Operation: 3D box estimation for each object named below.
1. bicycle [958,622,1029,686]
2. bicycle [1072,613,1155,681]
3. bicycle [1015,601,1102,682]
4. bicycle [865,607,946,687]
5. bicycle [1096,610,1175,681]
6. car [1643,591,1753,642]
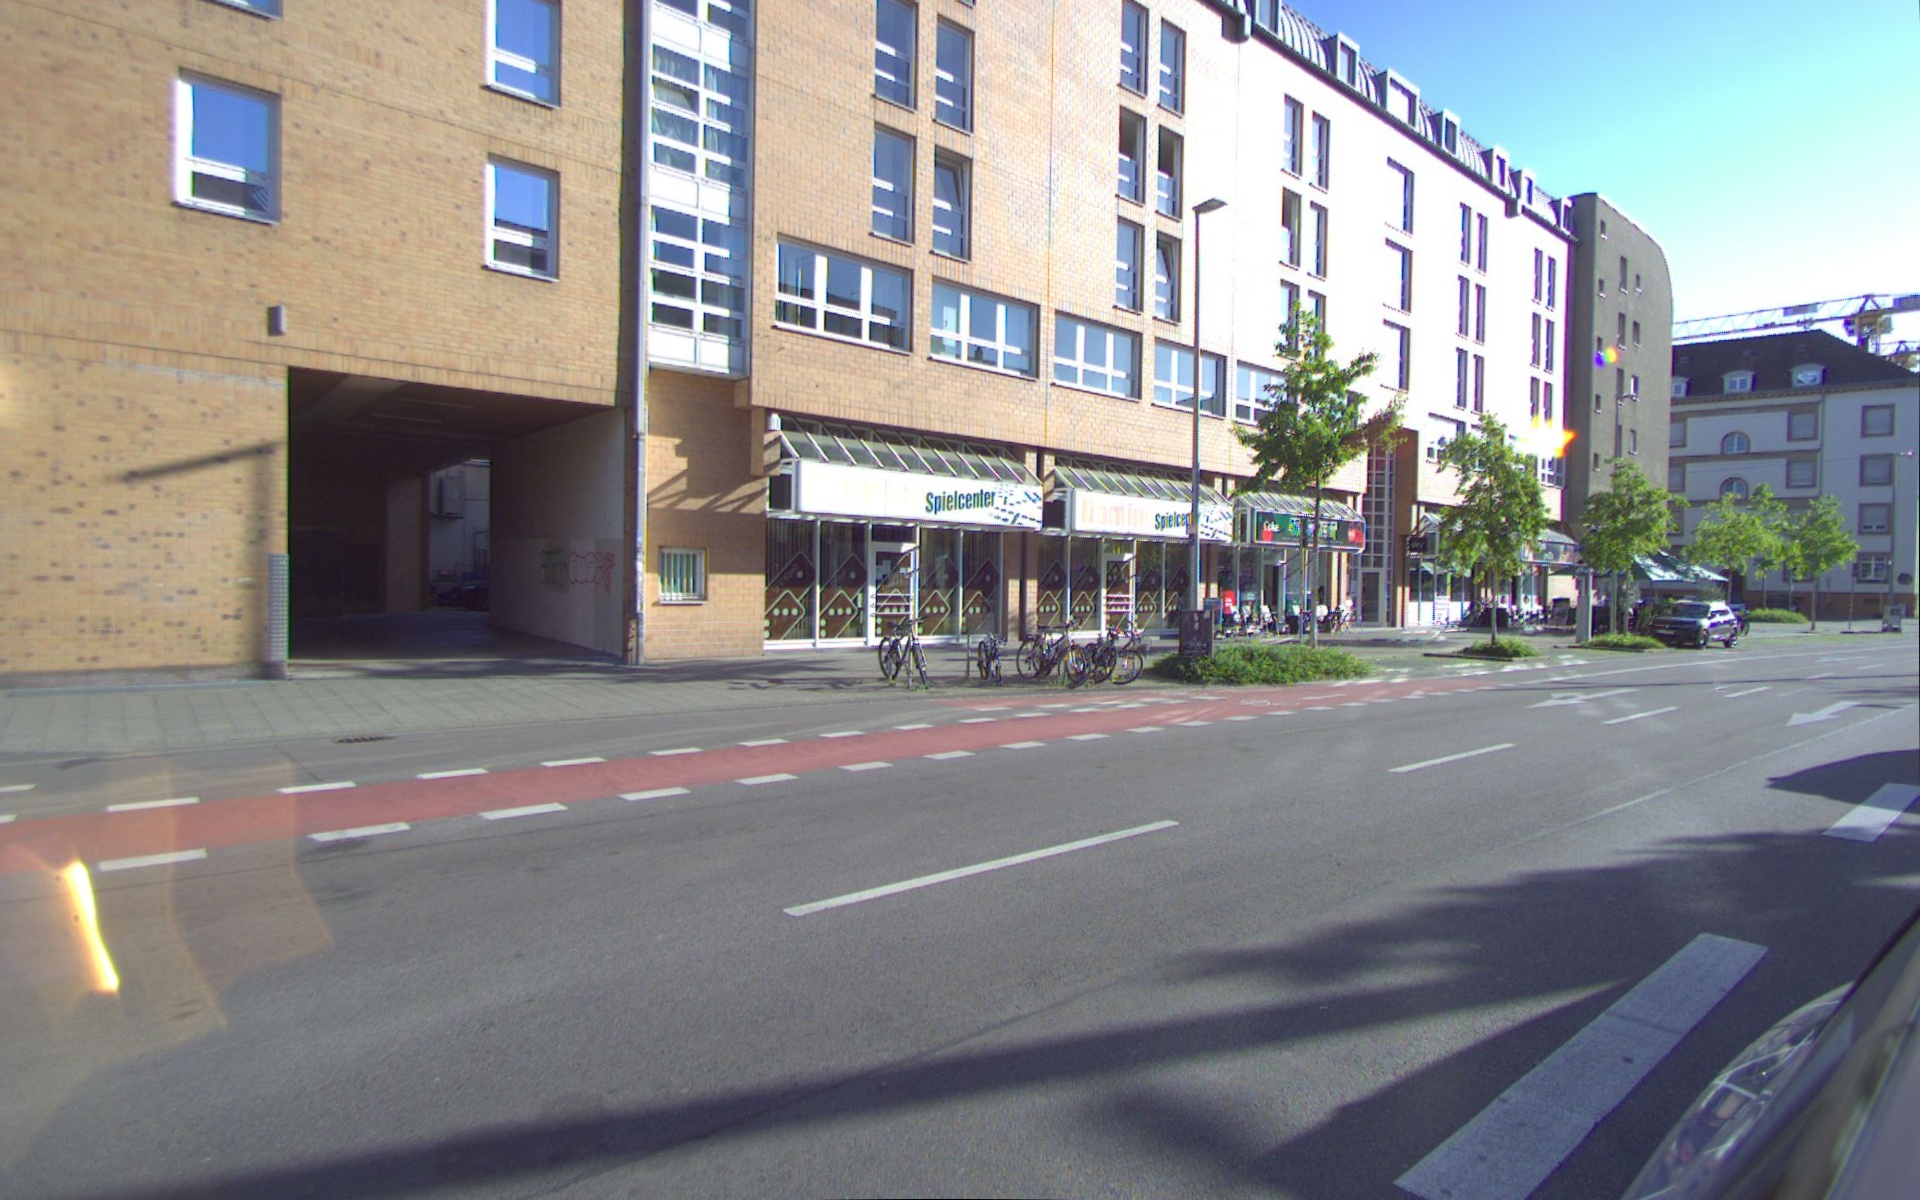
[{"bbox_3d":[0.530,0.863,16.681,0.359,0.842,1.779,0,3,-26],"label":"bicycle"},{"bbox_3d":[2.646,0.792,17.655,0.440,0.997,1.843,0,3,-26],"label":"bicycle"},{"bbox_3d":[1.646,0.671,17.215,0.553,1.177,1.843,0,3,-26],"label":"bicycle"},{"bbox_3d":[-0.905,0.726,16.249,0.423,1.089,1.776,-1,4,-35],"label":"bicycle"},{"bbox_3d":[3.065,0.776,17.874,0.343,1.069,1.843,0,3,-26],"label":"bicycle"},{"bbox_3d":[25.763,0.536,35.304,3.921,1.660,1.782,0,1,-33],"label":"car"}]
